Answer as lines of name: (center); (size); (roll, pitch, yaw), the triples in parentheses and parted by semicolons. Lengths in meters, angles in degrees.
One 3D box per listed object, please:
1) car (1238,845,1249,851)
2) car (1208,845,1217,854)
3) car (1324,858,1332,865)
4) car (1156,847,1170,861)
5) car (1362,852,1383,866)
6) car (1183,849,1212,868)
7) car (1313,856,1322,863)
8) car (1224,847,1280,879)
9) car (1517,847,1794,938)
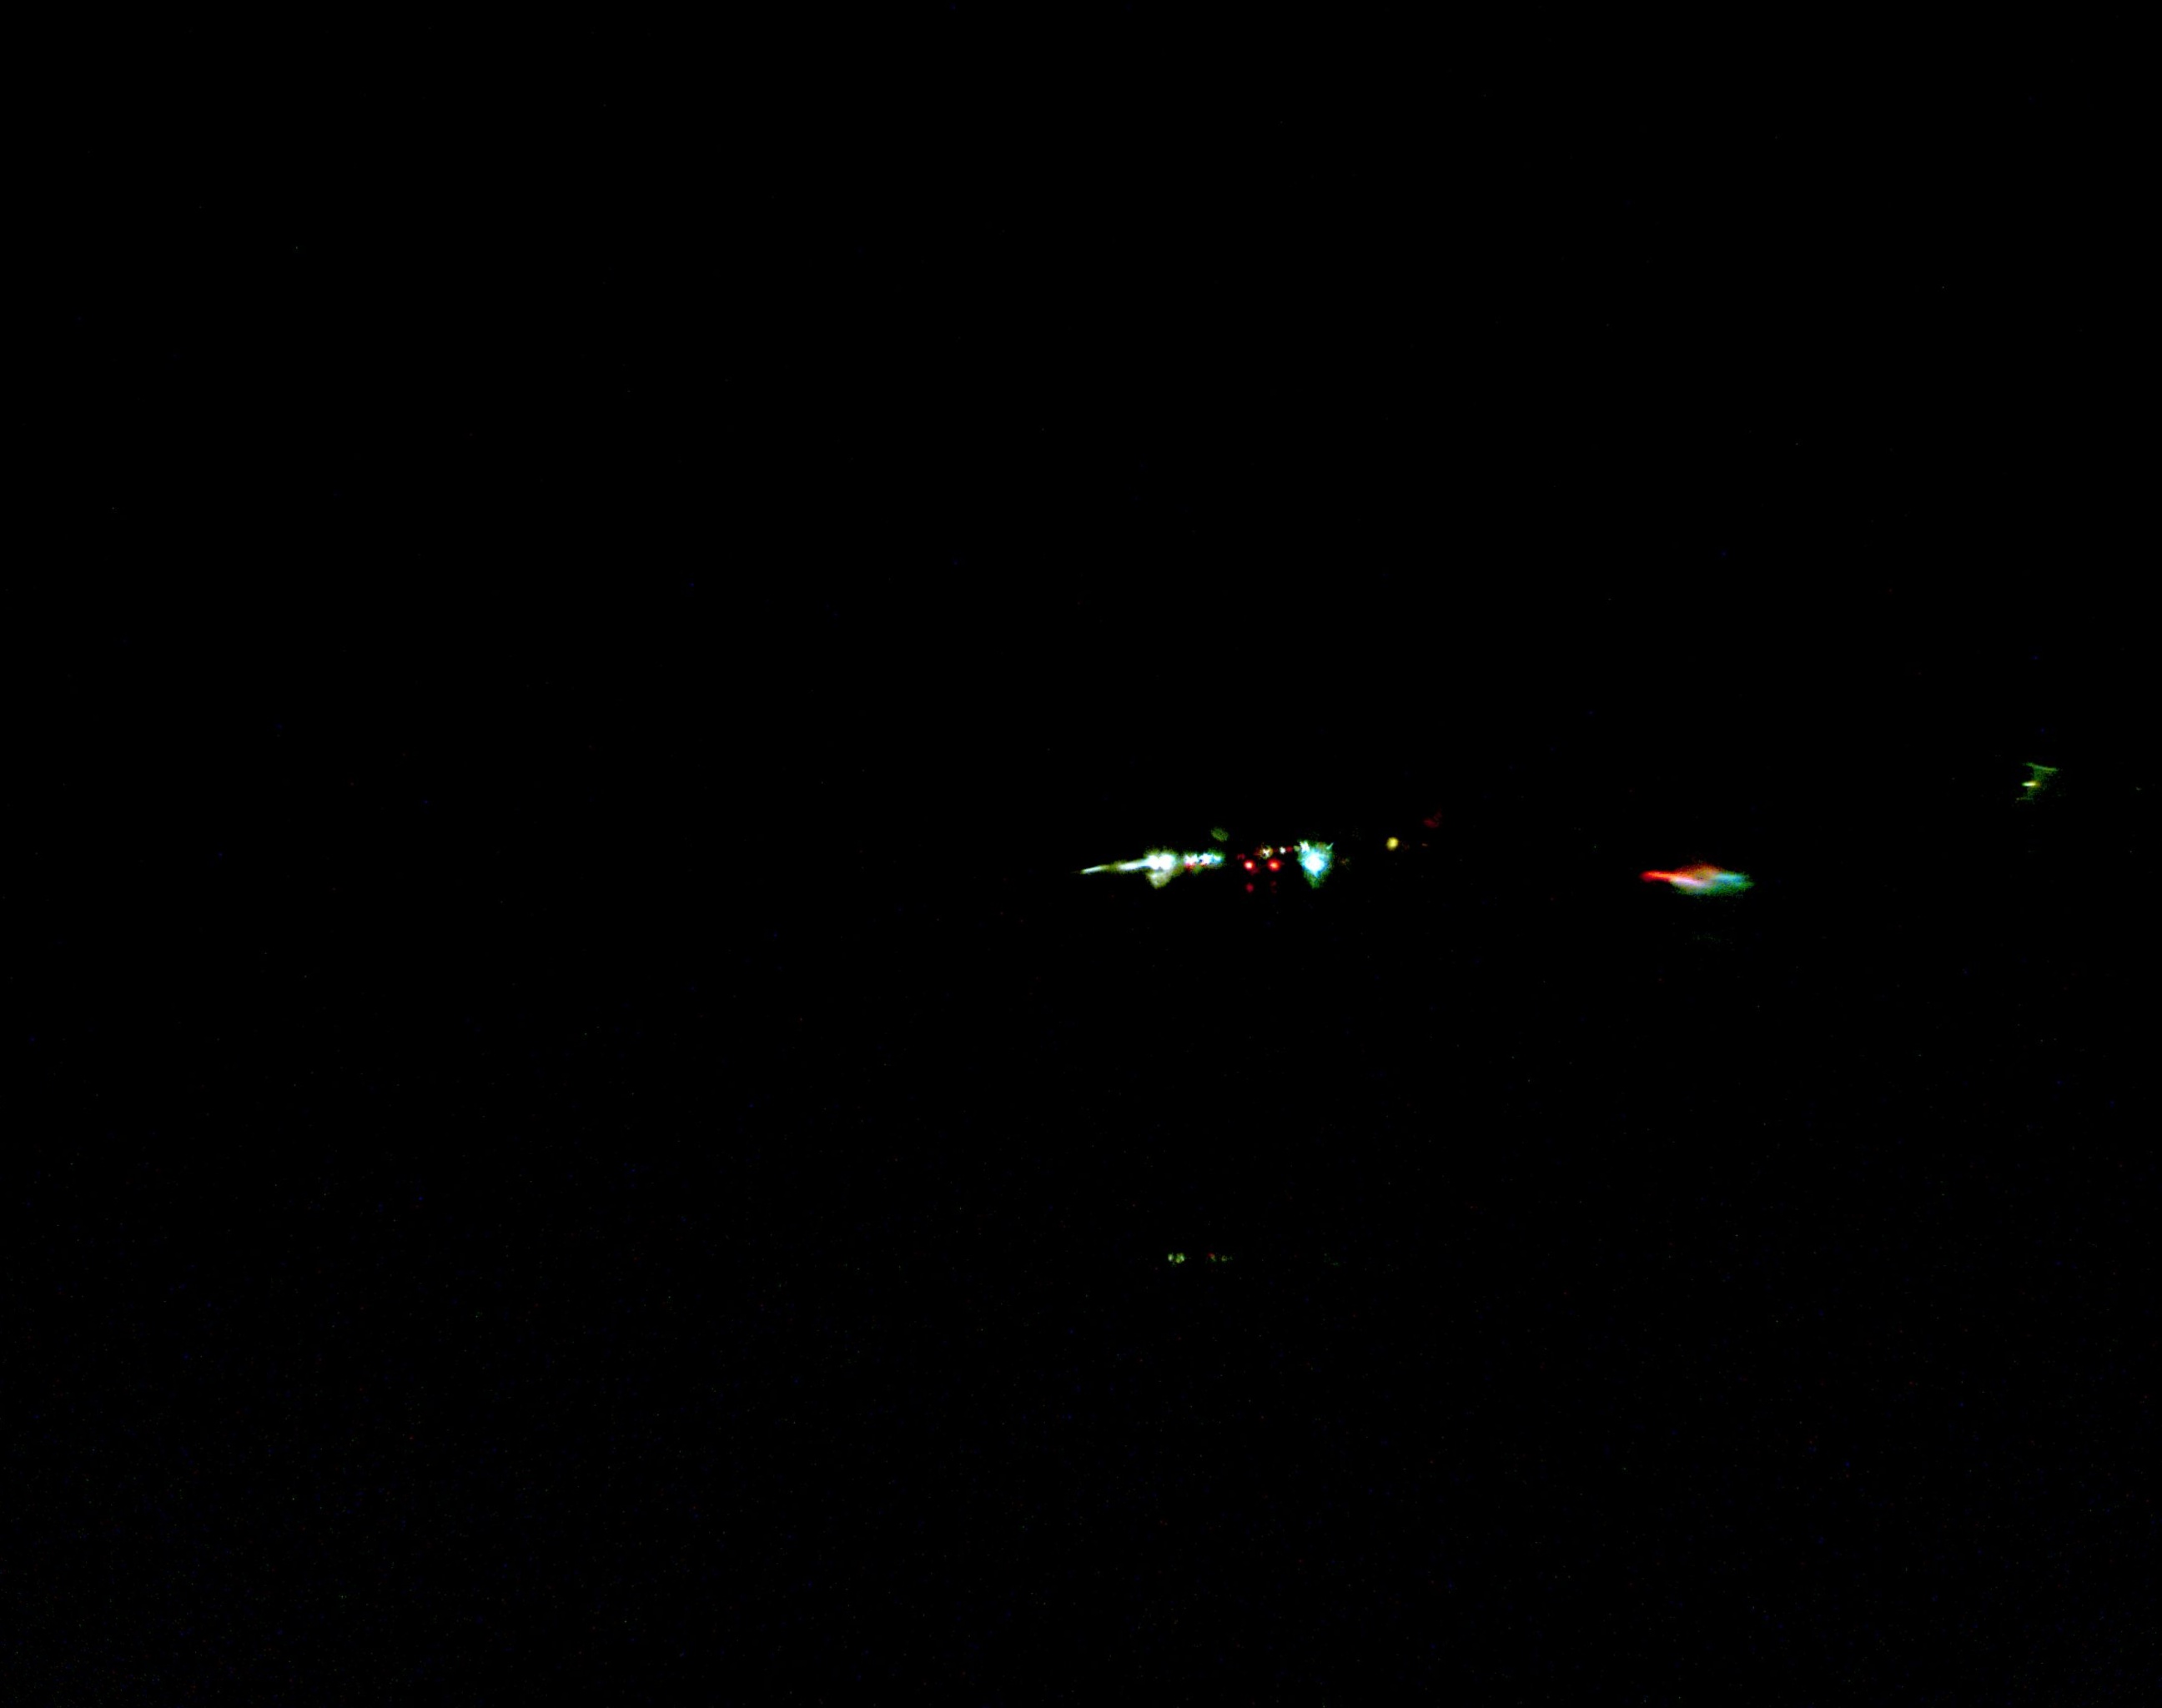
car: (45.896, -1.618, 214.689); (1.995, 1.604, 4.618); (-2, 1, 22)
car: (33.430, -1.123, 192.978); (1.996, 2.002, 4.004); (-3, 0, 15)
car: (62.715, 1.829, 192.842); (1.810, 1.561, 4.298); (-3, 0, 19)
car: (12.390, -0.010, 114.806); (1.997, 2.002, 4.002); (-3, 0, 7)
car: (43.847, 0.745, 114.366); (1.997, 2.002, 4.002); (-3, 0, 6)
car: (10.551, 0.393, 69.342); (1.886, 1.591, 3.899); (-3, 0, -2)
car: (60.523, 1.456, 194.494); (1.810, 1.666, 4.299); (-2, 0, 23)
car: (10.355, 0.521, 46.328); (2.204, 1.735, 4.524); (-3, 0, -2)
car: (10.842, 0.636, 14.869); (1.837, 1.433, 4.489); (-3, 0, -3)
